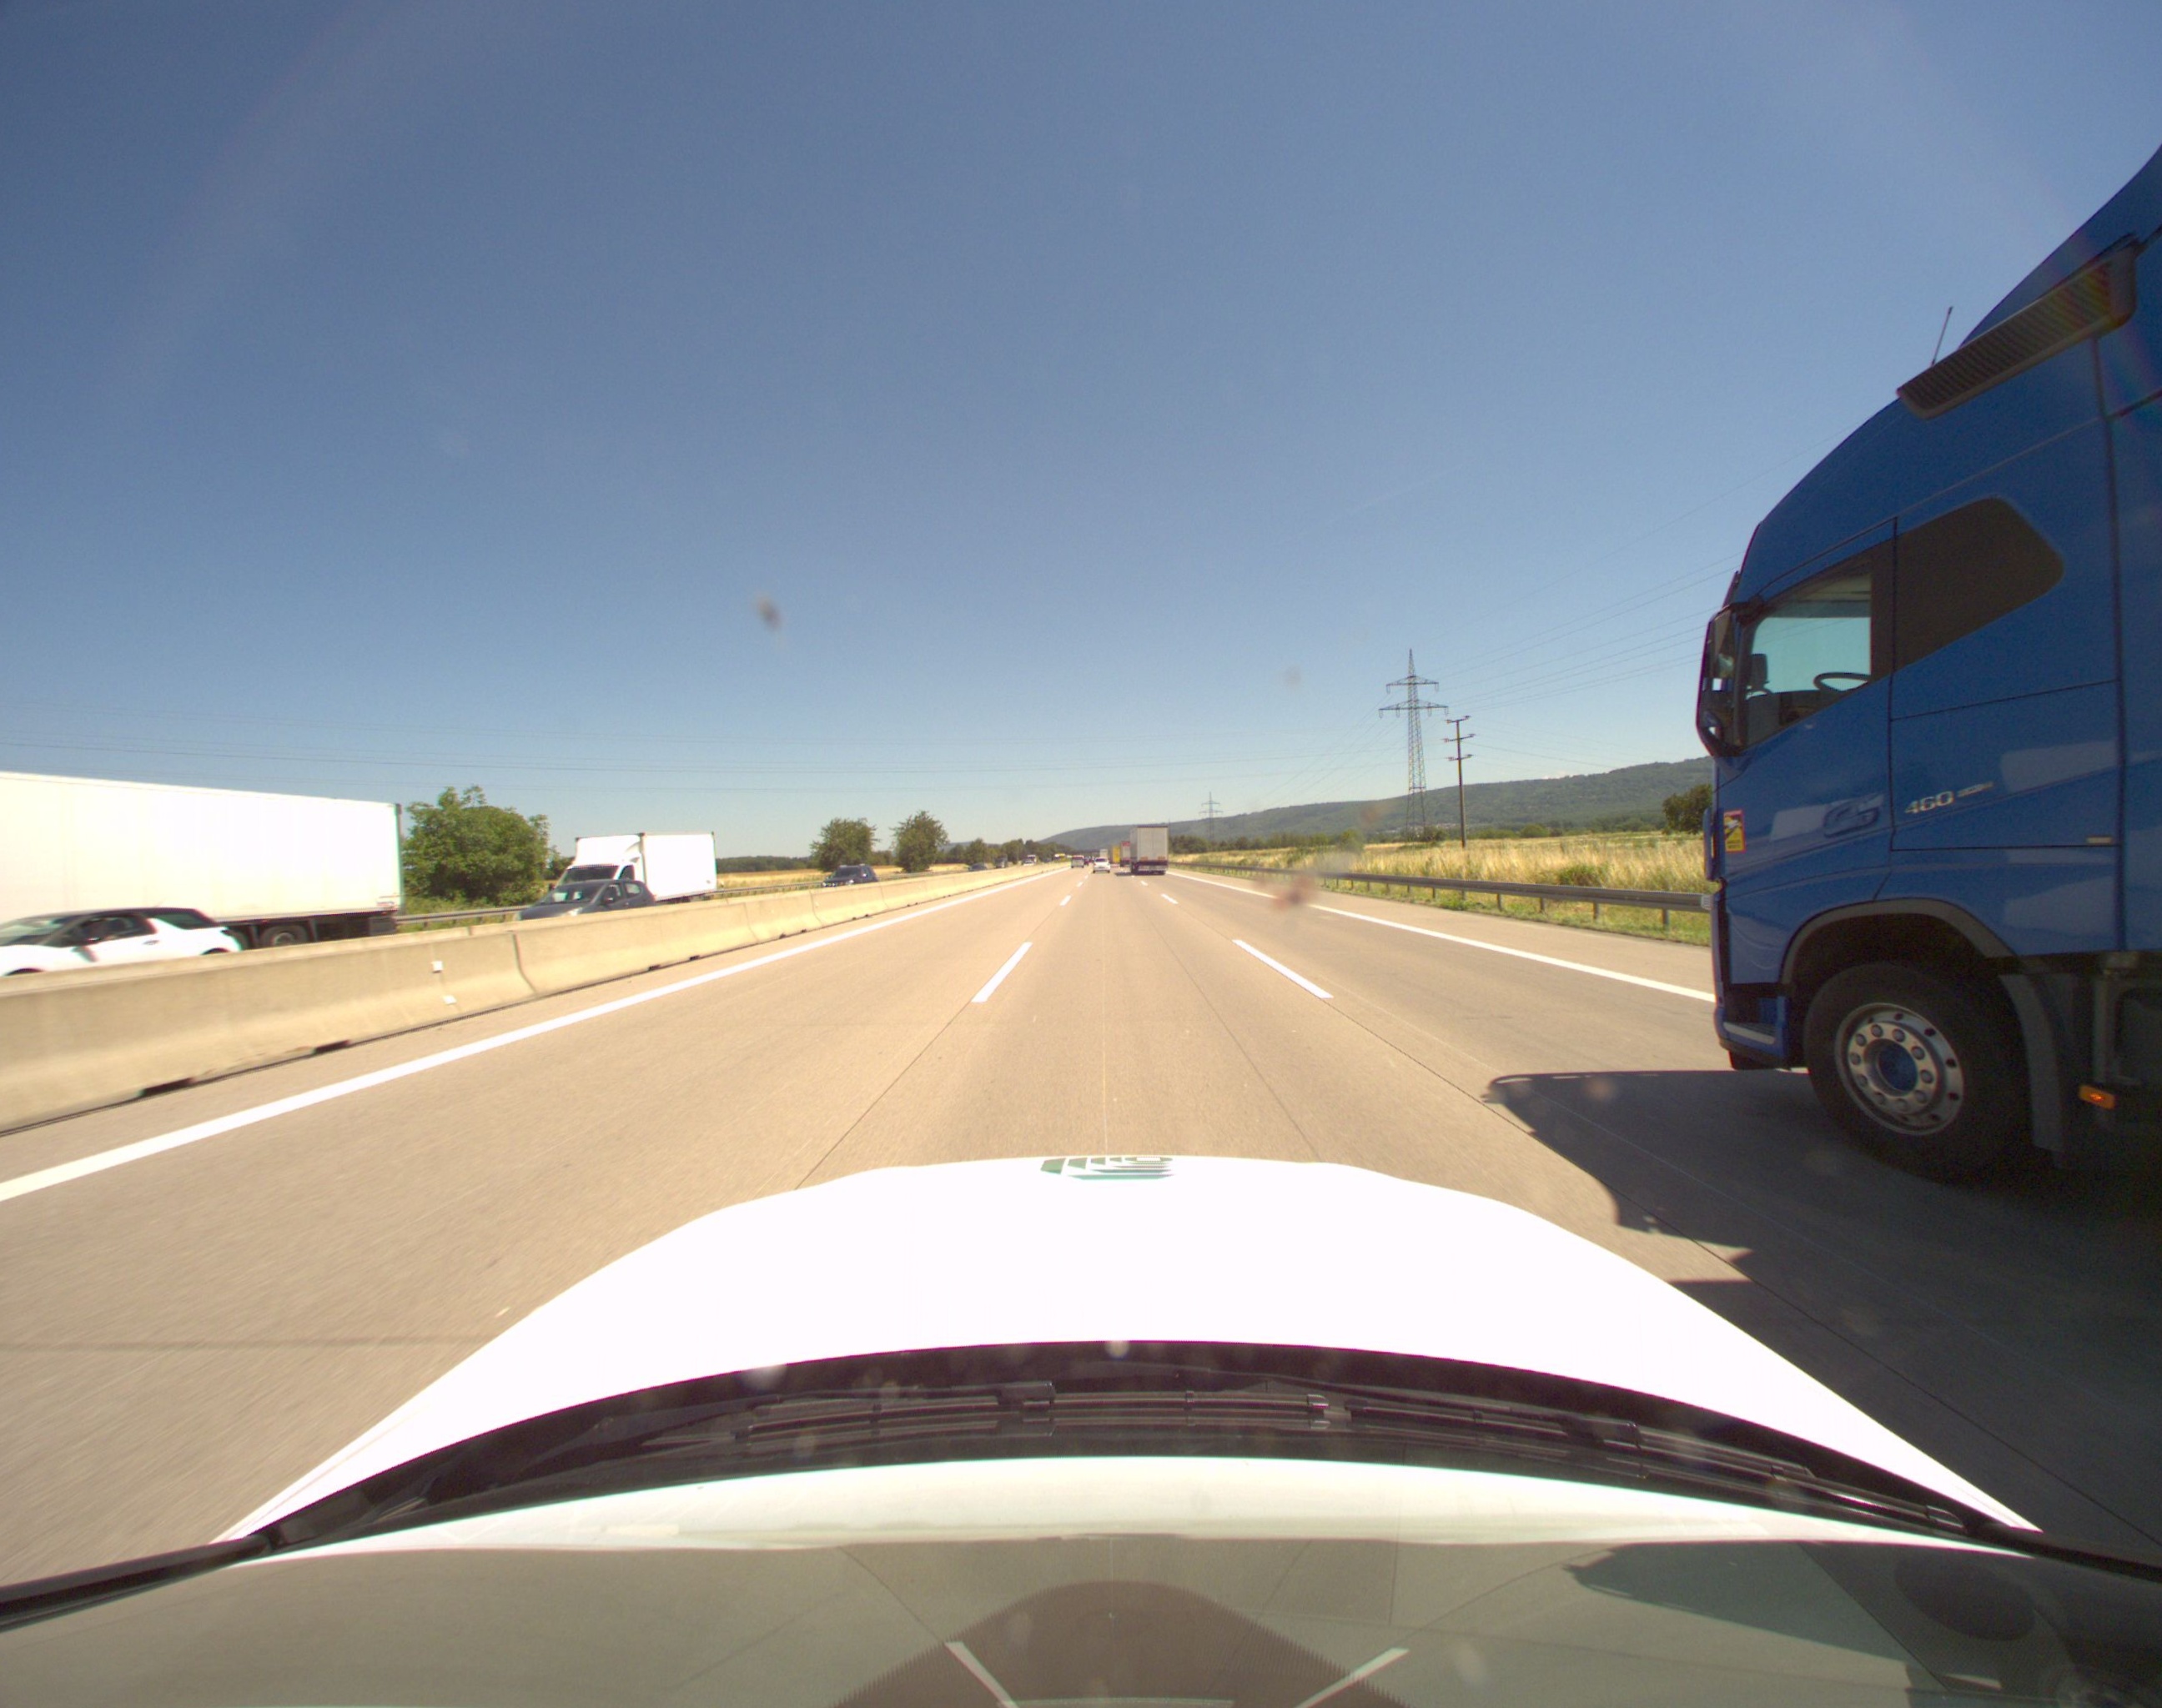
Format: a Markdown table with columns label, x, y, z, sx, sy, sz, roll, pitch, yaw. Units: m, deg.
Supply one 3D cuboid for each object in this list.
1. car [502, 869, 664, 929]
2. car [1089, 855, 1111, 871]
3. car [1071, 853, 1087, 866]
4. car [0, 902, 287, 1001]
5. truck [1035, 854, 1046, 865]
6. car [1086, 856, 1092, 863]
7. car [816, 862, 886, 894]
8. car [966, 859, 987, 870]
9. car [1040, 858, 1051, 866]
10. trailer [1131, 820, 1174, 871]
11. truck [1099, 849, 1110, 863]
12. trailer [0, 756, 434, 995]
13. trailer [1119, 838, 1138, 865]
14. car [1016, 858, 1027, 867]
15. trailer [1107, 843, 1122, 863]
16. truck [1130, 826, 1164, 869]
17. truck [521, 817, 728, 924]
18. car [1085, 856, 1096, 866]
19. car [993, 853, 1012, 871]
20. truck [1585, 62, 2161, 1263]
| label | x | y | z | sx | sy | sz | roll | pitch | yaw |
| --- | --- | --- | --- | --- | --- | --- | --- | --- | --- |
| car | -11.151 | 0.961 | 18.514 | 1.537 | 1.163 | 3.376 | -1 | 0 | 1 |
| car | 1.929 | 0.876 | 81.085 | 2.098 | 1.536 | 4.125 | -1 | 0 | 3 |
| car | -0.226 | 0.810 | 125.403 | 2.246 | 2.014 | 4.300 | -1 | 0 | 2 |
| car | -15.702 | 1.483 | 12.979 | 1.674 | 1.146 | 4.399 | -2 | 0 | 1 |
| truck | -11.937 | 1.548 | 239.271 | 2.796 | 3.304 | 5.615 | -1 | 0 | 1 |
| car | 2.392 | 1.681 | 239.521 | 1.777 | 1.881 | 4.002 | -1 | 0 | 2 |
| car | -10.940 | 1.123 | 39.033 | 1.839 | 1.351 | 4.496 | -2 | 0 | 3 |
| car | -10.503 | 1.051 | 81.924 | 1.515 | 1.053 | 3.526 | -1 | 0 | 3 |
| car | -7.875 | 1.775 | 180.212 | 1.985 | 1.826 | 5.828 | -1 | 0 | 3 |
| trailer | 6.177 | -0.649 | 72.461 | 3.006 | 4.061 | 14.213 | -1 | 0 | 2 |
| truck | 7.059 | 0.579 | 247.585 | 3.340 | 4.272 | 8.231 | -1 | 0 | 2 |
| trailer | -19.602 | 0.381 | 16.272 | 2.809 | 4.044 | 12.683 | -1 | 0 | 2 |
| trailer | 7.542 | -0.353 | 130.166 | 2.862 | 4.101 | 13.520 | -1 | 0 | 2 |
| car | -13.197 | 1.903 | 180.935 | 2.161 | 1.790 | 4.002 | -1 | 0 | 2 |
| trailer | 7.801 | -0.271 | 191.672 | 3.204 | 4.564 | 13.462 | -1 | 0 | 2 |
| truck | 6.439 | -0.623 | 79.825 | 2.973 | 4.062 | 5.480 | -1 | 0 | 2 |
| truck | -15.436 | 0.502 | 28.412 | 2.538 | 3.142 | 7.924 | -1 | 0 | 1 |
| car | 1.920 | 1.376 | 156.943 | 1.986 | 1.957 | 4.002 | -1 | 0 | 2 |
| car | -12.911 | 1.290 | 134.026 | 2.239 | 2.786 | 6.796 | -1 | 0 | 2 |
| truck | 5.031 | -0.645 | 3.253 | 2.740 | 4.043 | 5.468 | -1 | 0 | 2 |
